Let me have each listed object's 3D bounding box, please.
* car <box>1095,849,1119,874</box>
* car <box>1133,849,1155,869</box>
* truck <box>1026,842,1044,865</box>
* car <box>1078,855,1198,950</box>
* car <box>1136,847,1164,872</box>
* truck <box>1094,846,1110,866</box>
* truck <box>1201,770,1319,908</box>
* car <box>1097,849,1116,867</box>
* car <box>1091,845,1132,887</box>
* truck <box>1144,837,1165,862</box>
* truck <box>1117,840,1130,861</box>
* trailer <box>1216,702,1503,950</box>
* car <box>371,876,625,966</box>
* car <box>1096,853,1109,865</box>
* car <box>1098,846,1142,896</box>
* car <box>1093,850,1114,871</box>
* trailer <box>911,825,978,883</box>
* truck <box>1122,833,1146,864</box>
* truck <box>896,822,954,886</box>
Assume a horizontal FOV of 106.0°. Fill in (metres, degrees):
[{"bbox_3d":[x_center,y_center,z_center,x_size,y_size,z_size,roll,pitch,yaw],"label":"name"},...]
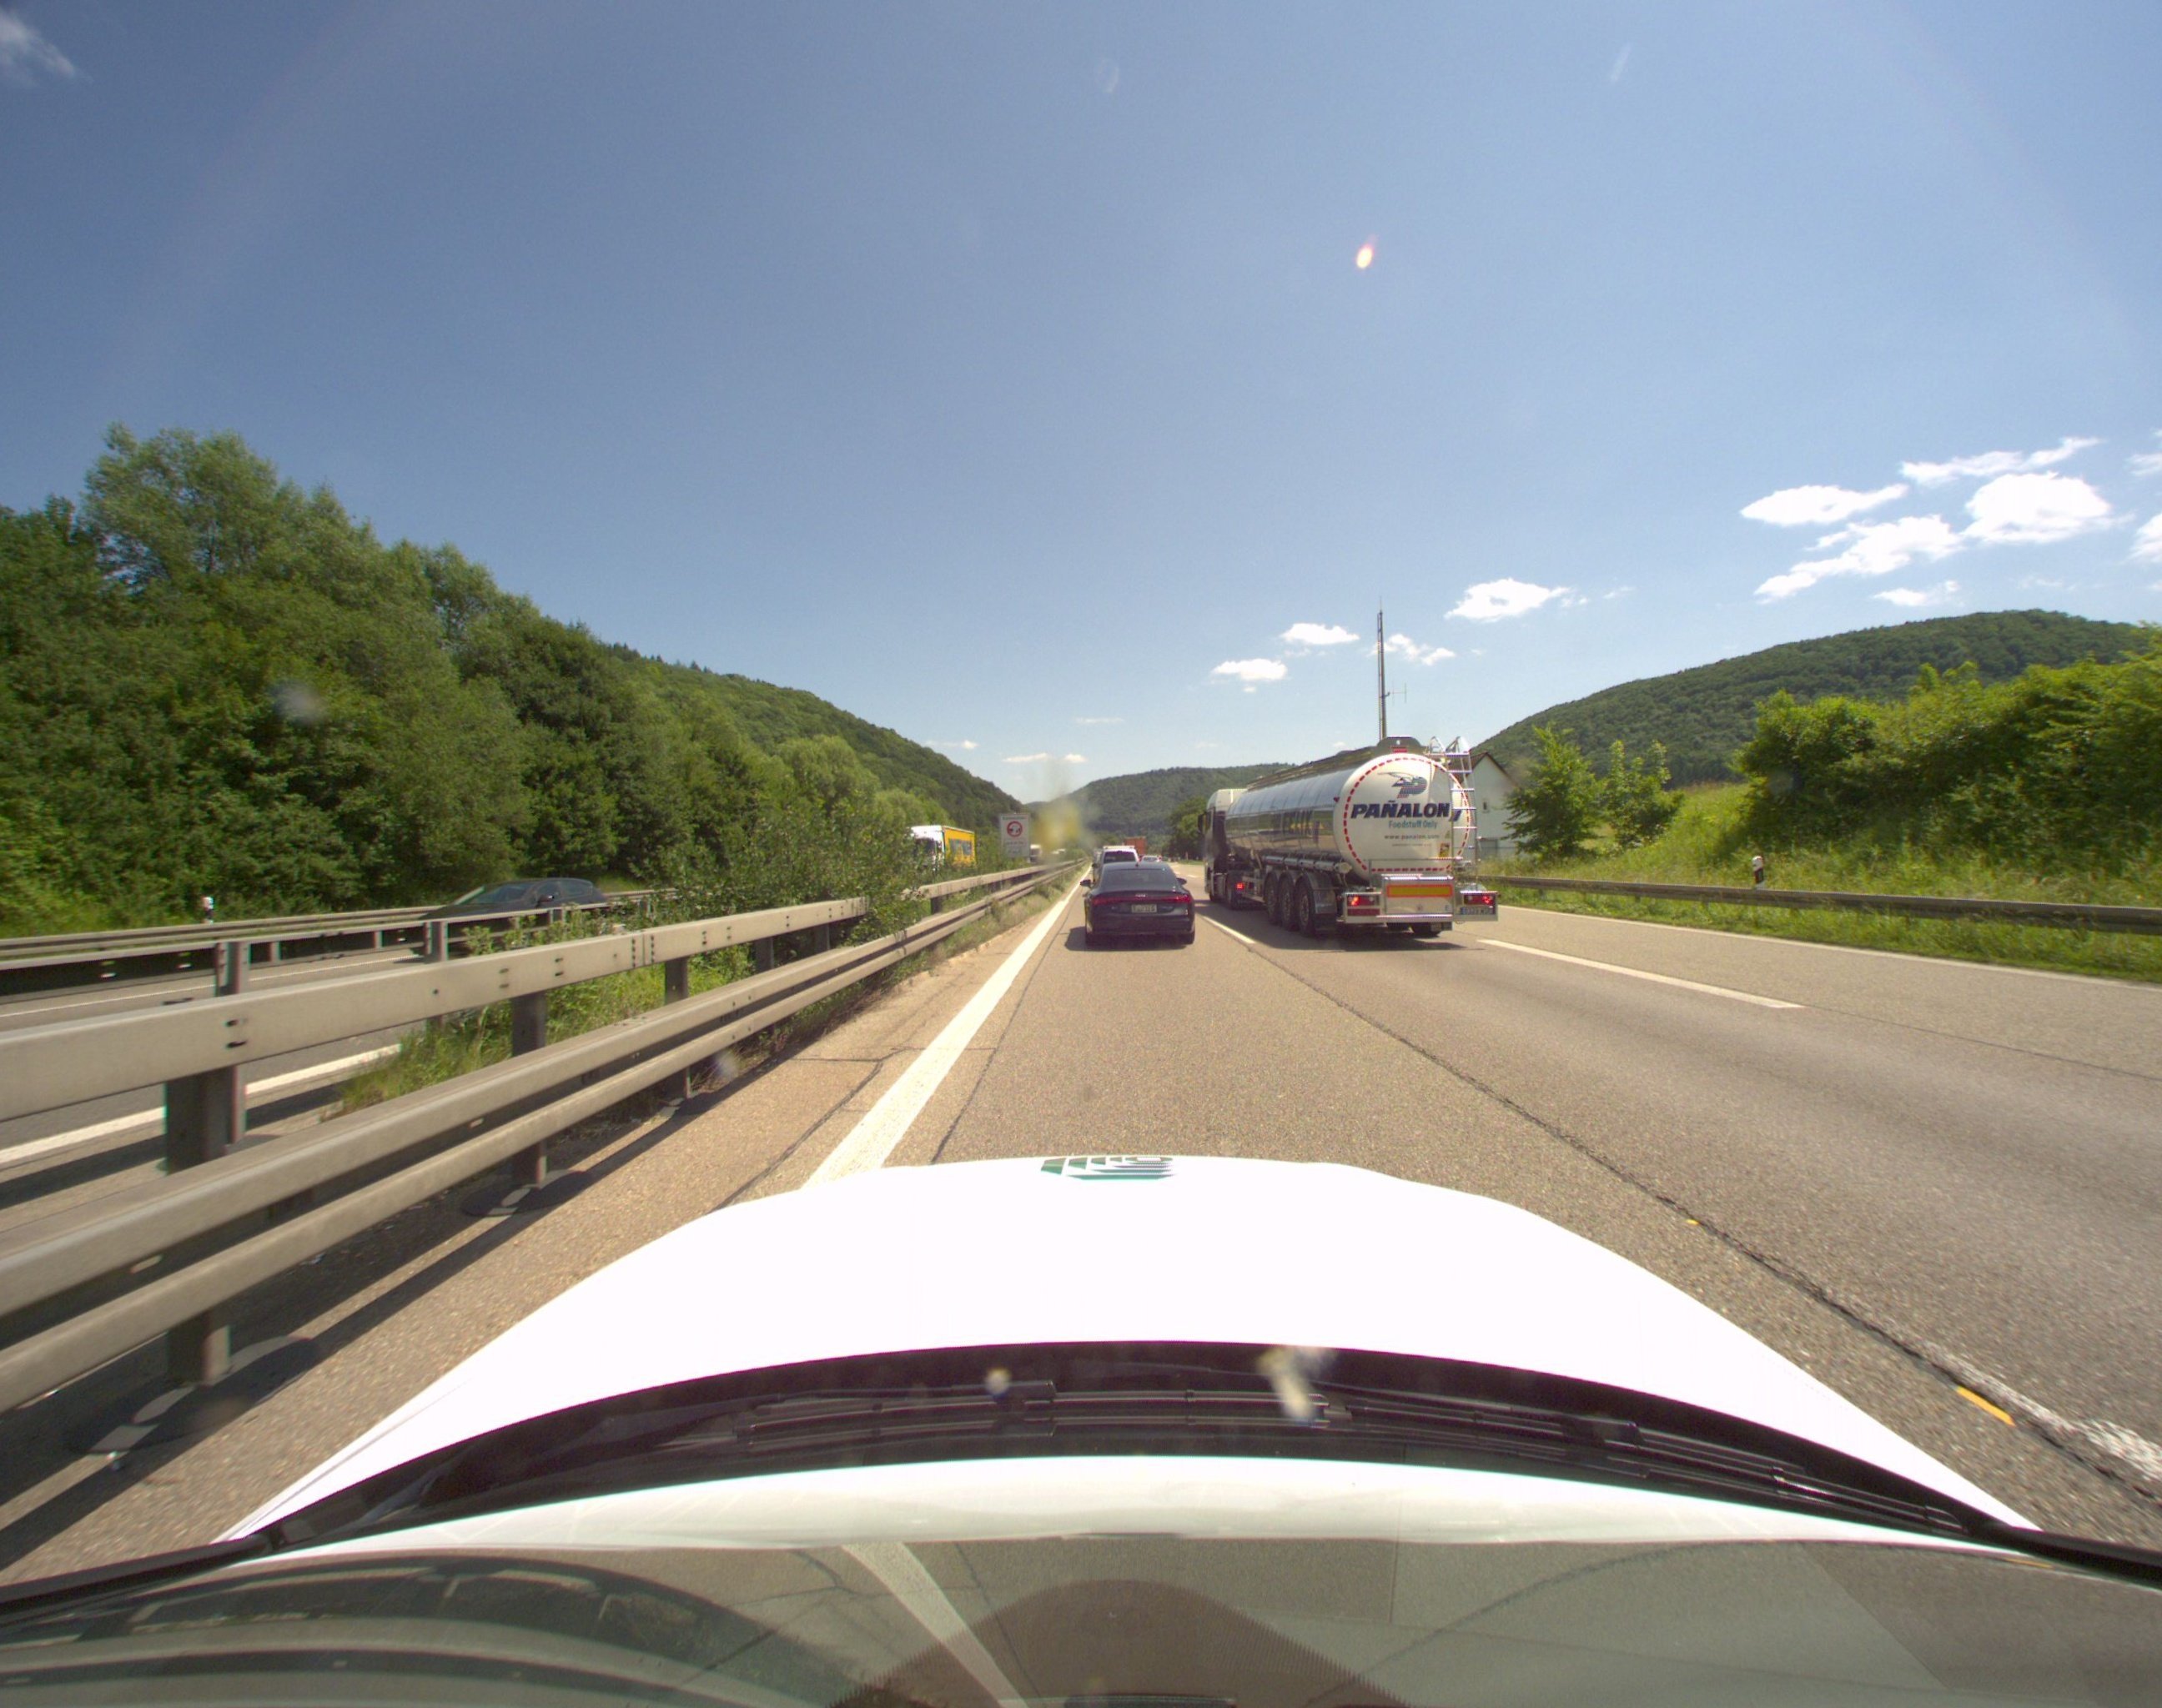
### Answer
[{"bbox_3d":[2.230,0.631,71.389,1.986,2.013,4.001,-2,0,1],"label":"car"},{"bbox_3d":[6.400,0.492,83.113,1.985,2.002,4.003,-2,0,2],"label":"car"},{"bbox_3d":[-8.338,-0.023,148.150,2.718,4.001,5.371,-2,0,2],"label":"truck"},{"bbox_3d":[0.906,0.776,15.009,1.844,1.488,4.081,-1,0,-1],"label":"car"},{"bbox_3d":[5.730,0.434,67.951,1.986,2.013,4.001,-2,0,1],"label":"car"},{"bbox_3d":[3.905,0.422,148.898,2.618,3.440,11.425,-2,0,2],"label":"truck"},{"bbox_3d":[5.292,-0.417,24.984,2.503,3.758,5.246,-1,0,1],"label":"truck"},{"bbox_3d":[2.446,0.351,77.610,1.705,1.618,4.003,-2,0,2],"label":"car"},{"bbox_3d":[1.561,0.595,42.149,1.986,2.013,4.001,-1,0,1],"label":"car"},{"bbox_3d":[12.637,-0.711,140.787,2.806,4.003,14.963,-1,0,2],"label":"truck"},{"bbox_3d":[7.326,-0.526,142.431,1.986,3.447,11.815,-1,0,2],"label":"truck"},{"bbox_3d":[5.216,-0.413,18.322,2.529,3.735,11.892,-1,0,1],"label":"trailer"},{"bbox_3d":[-11.648,1.249,16.744,1.862,1.420,4.435,-3,0,2],"label":"car"},{"bbox_3d":[3.067,0.680,115.732,1.705,1.618,4.003,-2,0,2],"label":"car"},{"bbox_3d":[1.486,0.624,32.092,1.570,1.833,4.001,-1,0,1],"label":"car"},{"bbox_3d":[2.236,0.653,81.354,1.986,2.013,4.001,-2,0,1],"label":"car"},{"bbox_3d":[-10.388,0.034,63.432,2.571,4.005,12.606,-1,0,2],"label":"trailer"},{"bbox_3d":[7.200,-0.653,112.420,2.806,4.003,14.963,-1,0,2],"label":"truck"},{"bbox_3d":[-10.636,0.019,56.033,2.538,4.090,5.852,-2,0,2],"label":"truck"}]
